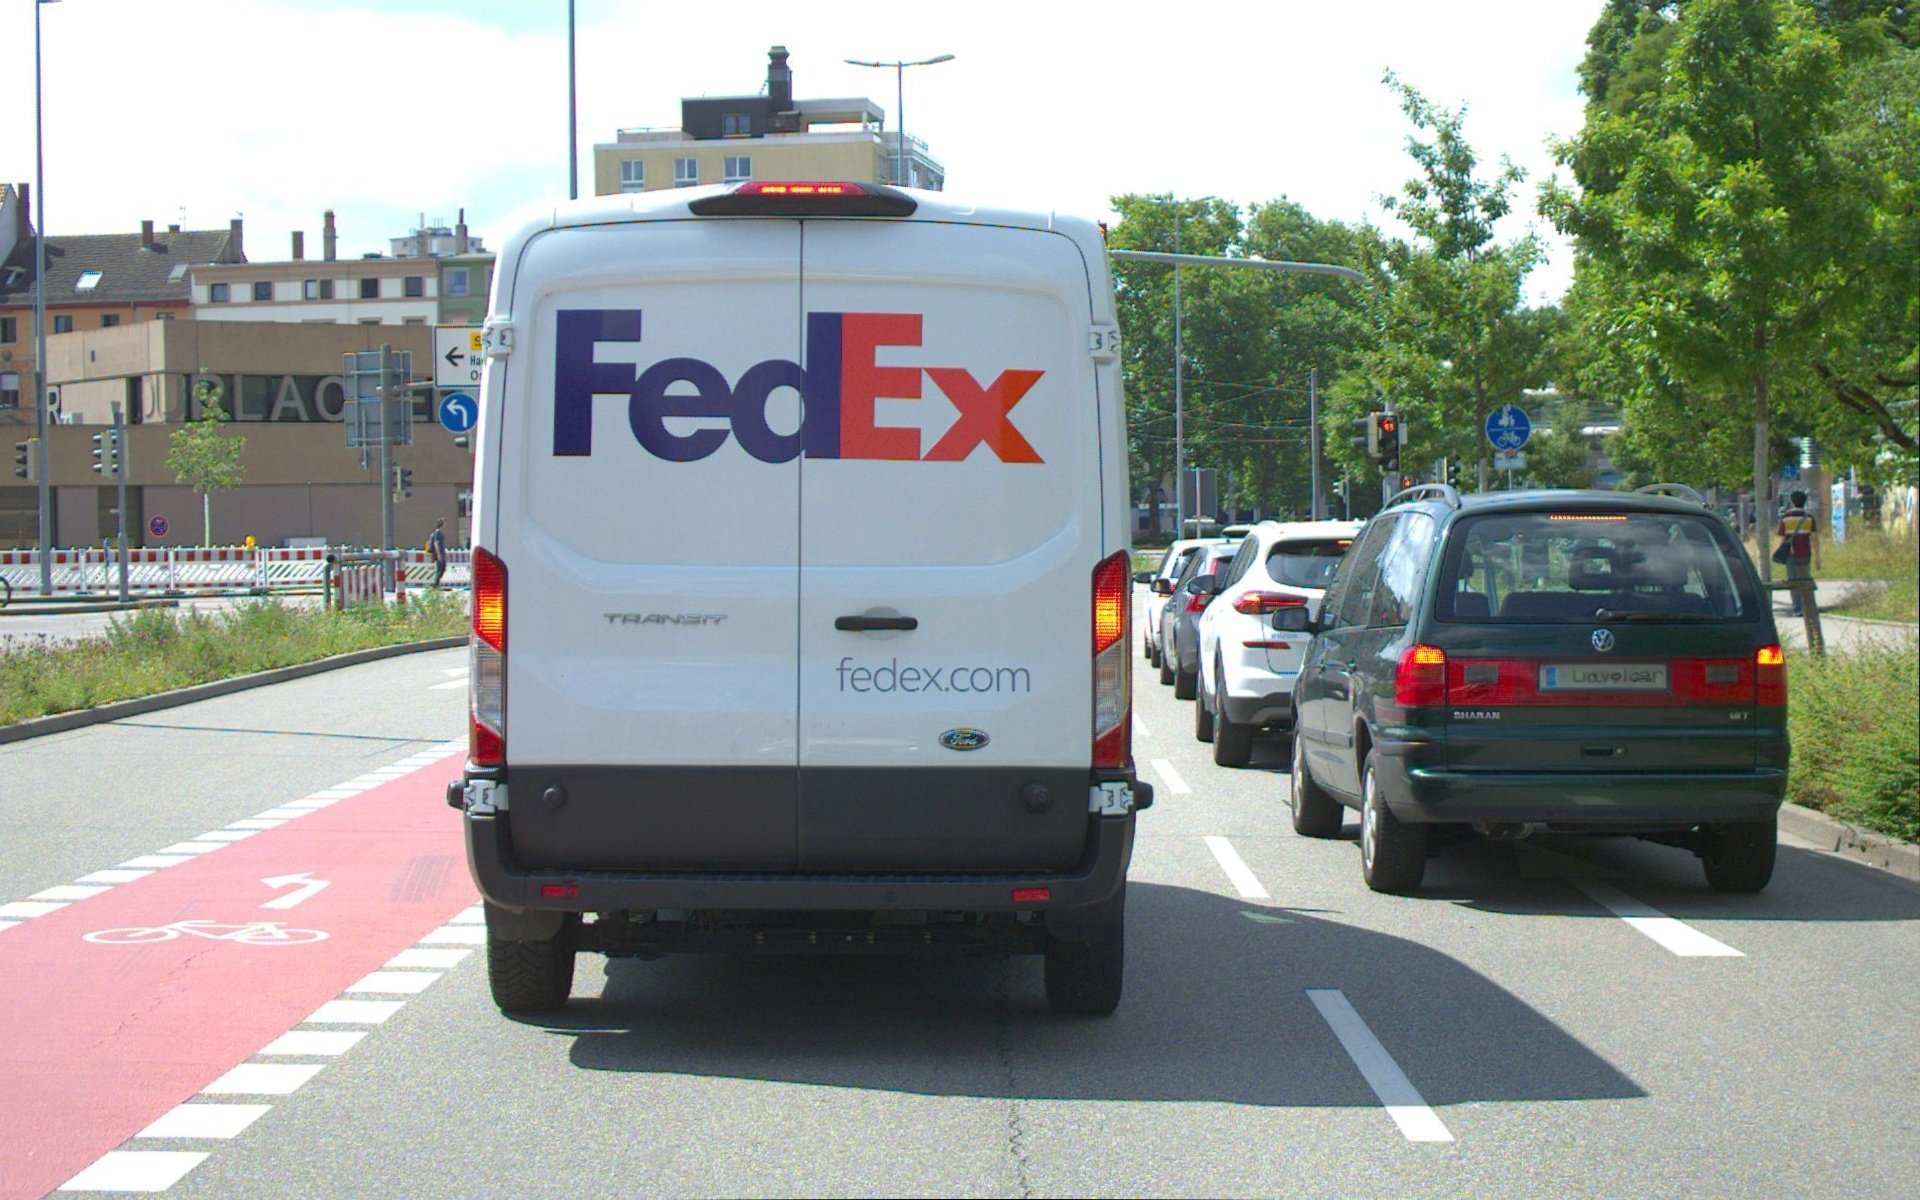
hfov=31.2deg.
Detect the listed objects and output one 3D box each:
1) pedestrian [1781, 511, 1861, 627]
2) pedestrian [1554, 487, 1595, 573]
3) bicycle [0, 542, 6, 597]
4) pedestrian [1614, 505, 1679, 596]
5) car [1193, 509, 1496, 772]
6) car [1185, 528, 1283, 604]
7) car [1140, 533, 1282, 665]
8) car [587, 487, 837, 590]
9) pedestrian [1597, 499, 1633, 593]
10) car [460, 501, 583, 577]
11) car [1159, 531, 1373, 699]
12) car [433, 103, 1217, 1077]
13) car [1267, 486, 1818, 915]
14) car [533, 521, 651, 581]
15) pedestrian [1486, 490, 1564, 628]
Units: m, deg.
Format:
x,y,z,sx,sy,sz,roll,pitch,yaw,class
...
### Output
x,y,z,sx,sy,sz,roll,pitch,yaw,class
11.531,-0.418,46.068,0.845,1.533,0.835,-1,1,0,pedestrian
13.511,-1.540,75.551,0.679,1.886,0.574,1,2,44,pedestrian
-19.103,-0.573,65.099,1.920,1.027,0.548,-1,1,-7,bicycle
10.666,-0.776,53.431,0.845,1.384,0.741,-1,1,0,pedestrian
2.611,0.208,24.127,1.798,1.681,4.000,0,1,2,car
6.724,-0.834,83.985,1.994,1.787,4.370,-1,1,10,car
2.849,-0.046,39.579,1.484,1.423,3.433,0,1,2,car
-5.053,-1.255,69.953,4.627,2.007,2.100,-1,1,-23,car
13.257,-1.102,69.587,0.574,1.886,0.679,-1,1,0,pedestrian
-12.060,-1.681,94.855,1.995,2.007,3.997,-1,1,15,car
2.845,0.098,32.636,1.798,1.456,3.838,0,1,2,car
-0.562,-0.082,12.250,2.140,2.643,5.705,0,1,-4,car
2.554,0.350,16.112,1.812,1.728,4.389,0,1,0,car
-9.981,-1.338,93.476,1.902,1.579,3.997,-1,1,14,car
7.814,-0.568,47.569,0.950,1.886,0.774,-1,1,0,pedestrian
